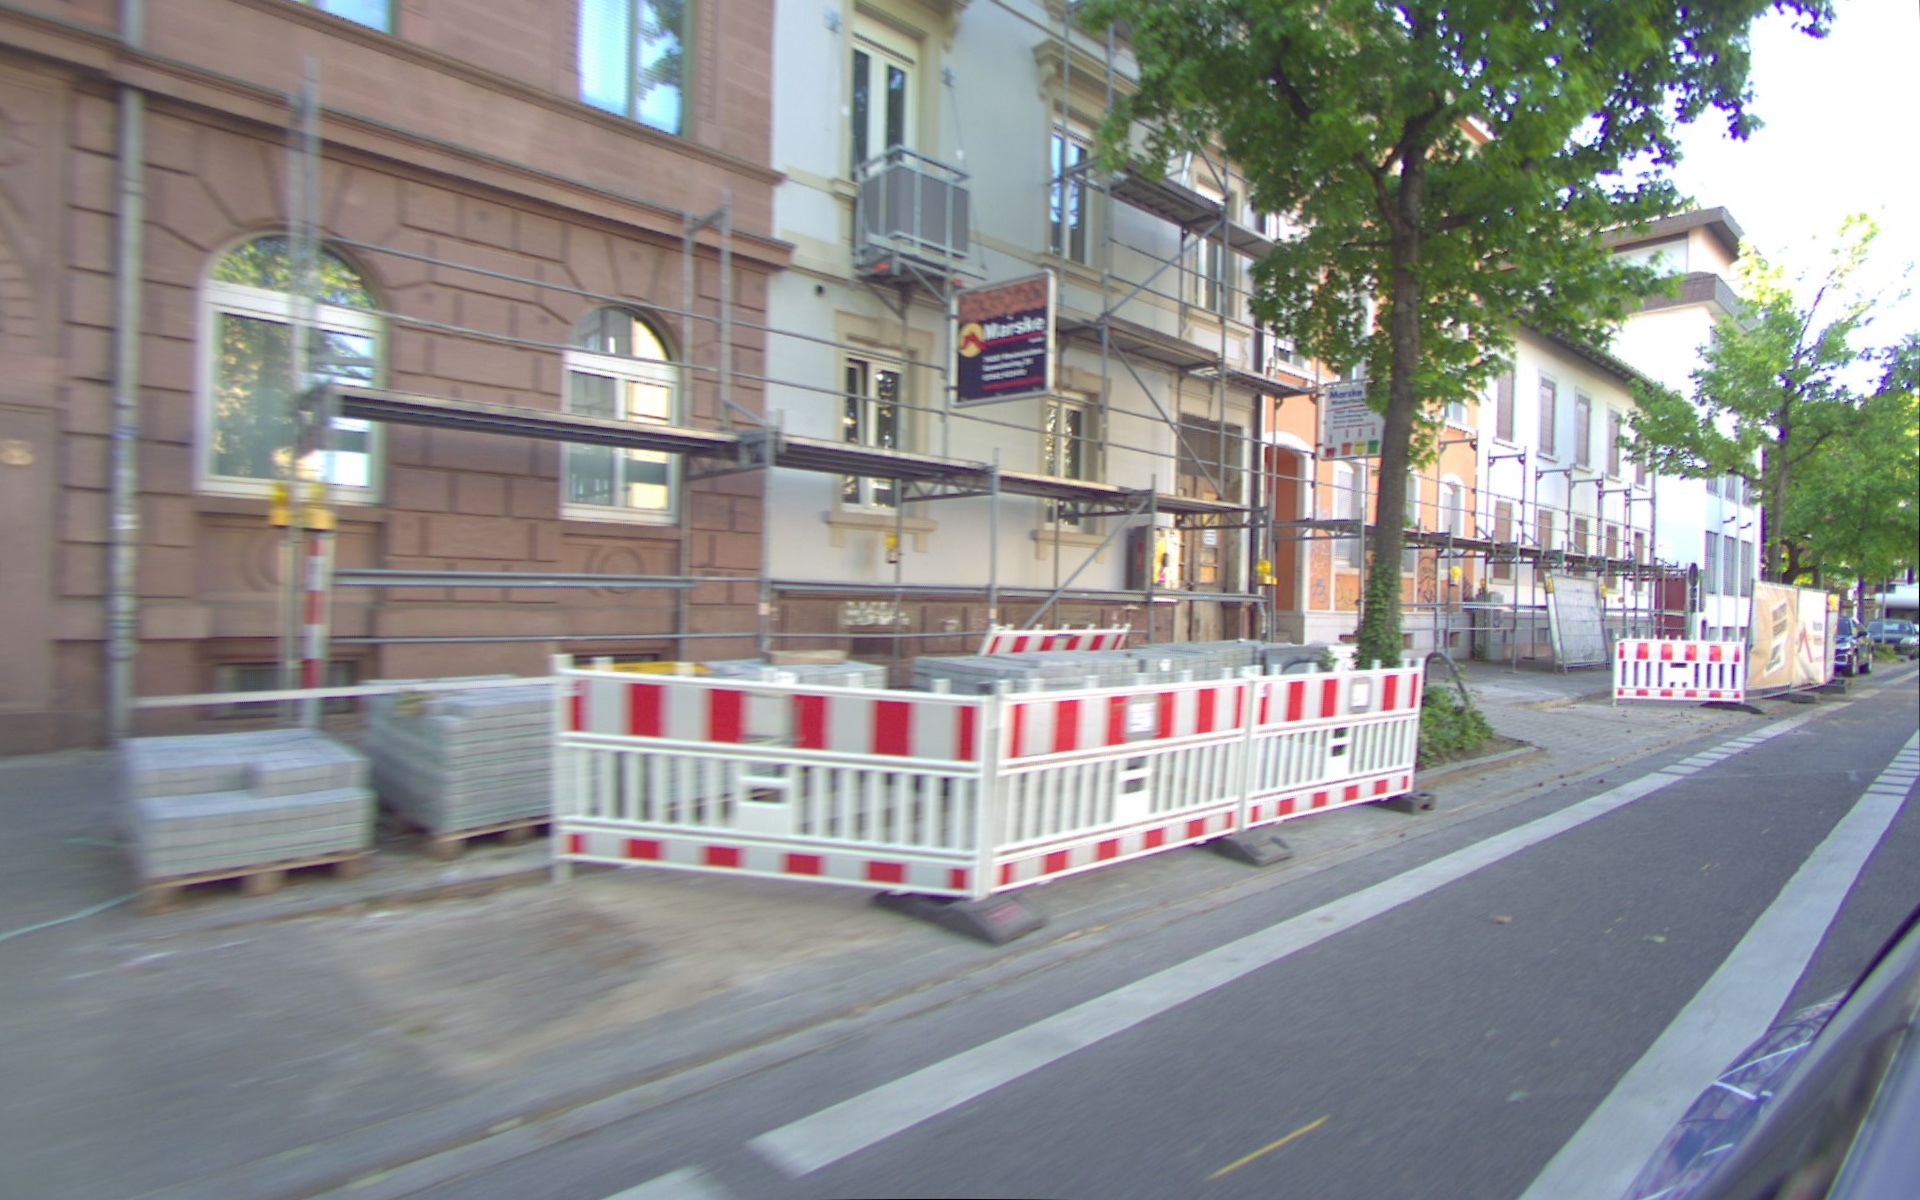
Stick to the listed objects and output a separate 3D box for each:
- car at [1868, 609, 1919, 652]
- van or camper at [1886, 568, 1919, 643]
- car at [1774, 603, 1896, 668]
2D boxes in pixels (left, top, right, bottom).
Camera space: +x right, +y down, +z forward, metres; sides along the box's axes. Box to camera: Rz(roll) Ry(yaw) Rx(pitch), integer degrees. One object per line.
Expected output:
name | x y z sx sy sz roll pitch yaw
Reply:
car | 35.085 1.104 37.642 3.737 1.465 1.654 1 1 -44
van or camper | 42.660 0.268 44.474 7.164 3.131 2.171 1 1 -42
car | 22.729 0.872 26.244 4.036 1.502 1.767 1 1 -40
